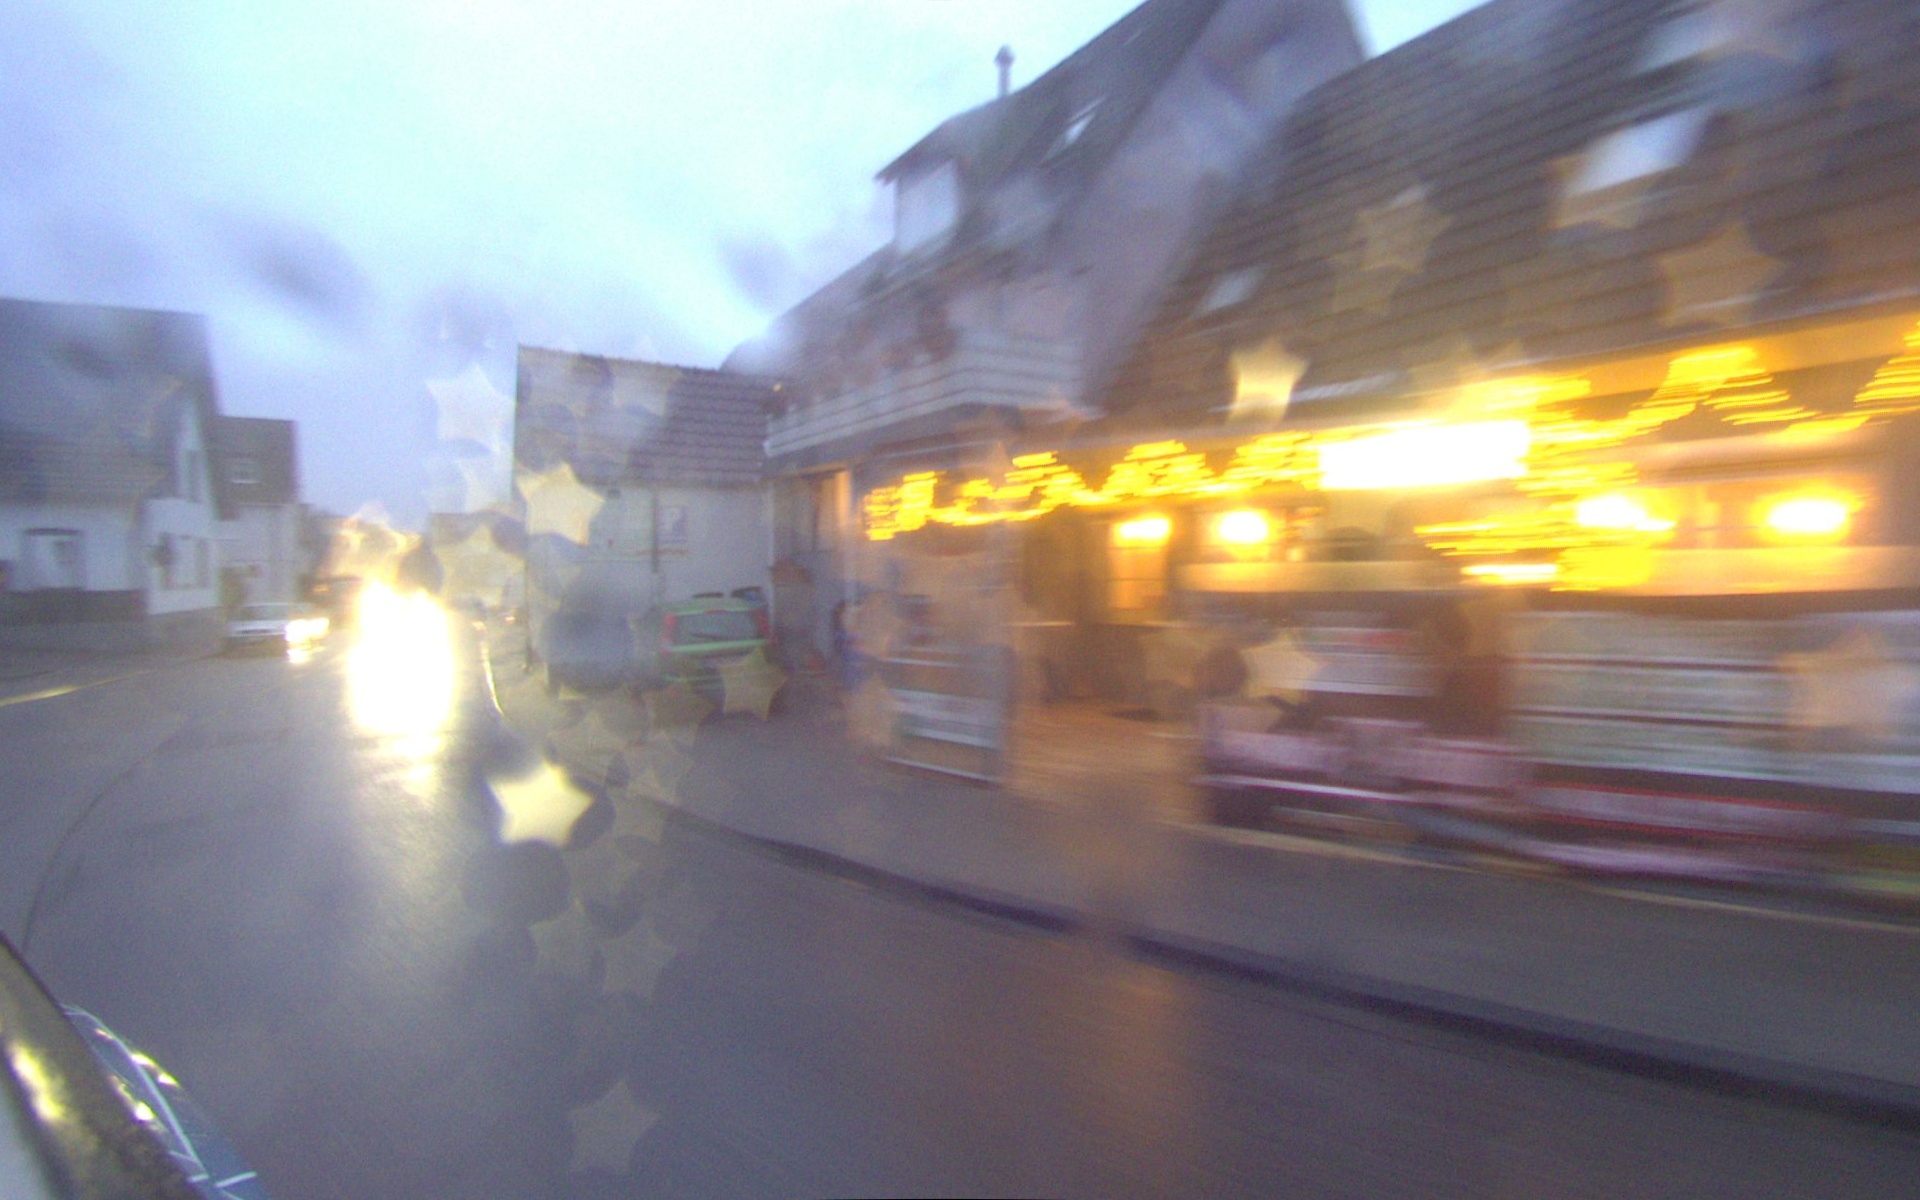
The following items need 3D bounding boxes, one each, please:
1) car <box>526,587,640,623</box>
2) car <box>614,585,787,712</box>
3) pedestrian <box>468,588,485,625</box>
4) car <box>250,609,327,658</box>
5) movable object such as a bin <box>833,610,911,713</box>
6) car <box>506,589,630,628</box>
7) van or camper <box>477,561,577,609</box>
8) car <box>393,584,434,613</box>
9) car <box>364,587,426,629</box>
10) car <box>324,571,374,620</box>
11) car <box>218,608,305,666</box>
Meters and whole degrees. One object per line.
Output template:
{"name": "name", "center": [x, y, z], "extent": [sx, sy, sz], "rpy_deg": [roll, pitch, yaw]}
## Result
{"name": "car", "center": [-16.199, 0.181, 43.592], "extent": [4.538, 1.481, 1.898], "rpy_deg": [0, 0, -21]}
{"name": "car", "center": [-3.631, 0.533, 13.706], "extent": [1.596, 1.432, 3.816], "rpy_deg": [-2, 1, -24]}
{"name": "pedestrian", "center": [-26.865, 0.365, 56.232], "extent": [0.772, 2.028, 0.872], "rpy_deg": [-3, 2, -26]}
{"name": "car", "center": [-23.030, 1.104, 34.833], "extent": [1.615, 1.482, 4.013], "rpy_deg": [-2, 1, -26]}
{"name": "movable object such as a bin", "center": [-0.999, 0.673, 11.420], "extent": [0.601, 1.111, 0.733], "rpy_deg": [0, -1, -33]}
{"name": "car", "center": [-15.769, 0.318, 40.708], "extent": [4.528, 1.481, 2.007], "rpy_deg": [0, 0, -25]}
{"name": "van or camper", "center": [-28.929, -0.966, 67.647], "extent": [5.973, 2.964, 2.331], "rpy_deg": [1, -1, -28]}
{"name": "car", "center": [-32.083, -0.104, 59.520], "extent": [1.958, 1.569, 4.250], "rpy_deg": [-2, 1, -27]}
{"name": "car", "center": [-22.584, 0.285, 40.578], "extent": [1.958, 1.569, 4.250], "rpy_deg": [-2, 1, -26]}
{"name": "car", "center": [-33.435, -0.259, 55.506], "extent": [1.981, 2.472, 5.633], "rpy_deg": [-2, 1, -28]}
{"name": "car", "center": [-20.687, 1.046, 30.107], "extent": [1.615, 1.505, 4.013], "rpy_deg": [-2, 1, -28]}
